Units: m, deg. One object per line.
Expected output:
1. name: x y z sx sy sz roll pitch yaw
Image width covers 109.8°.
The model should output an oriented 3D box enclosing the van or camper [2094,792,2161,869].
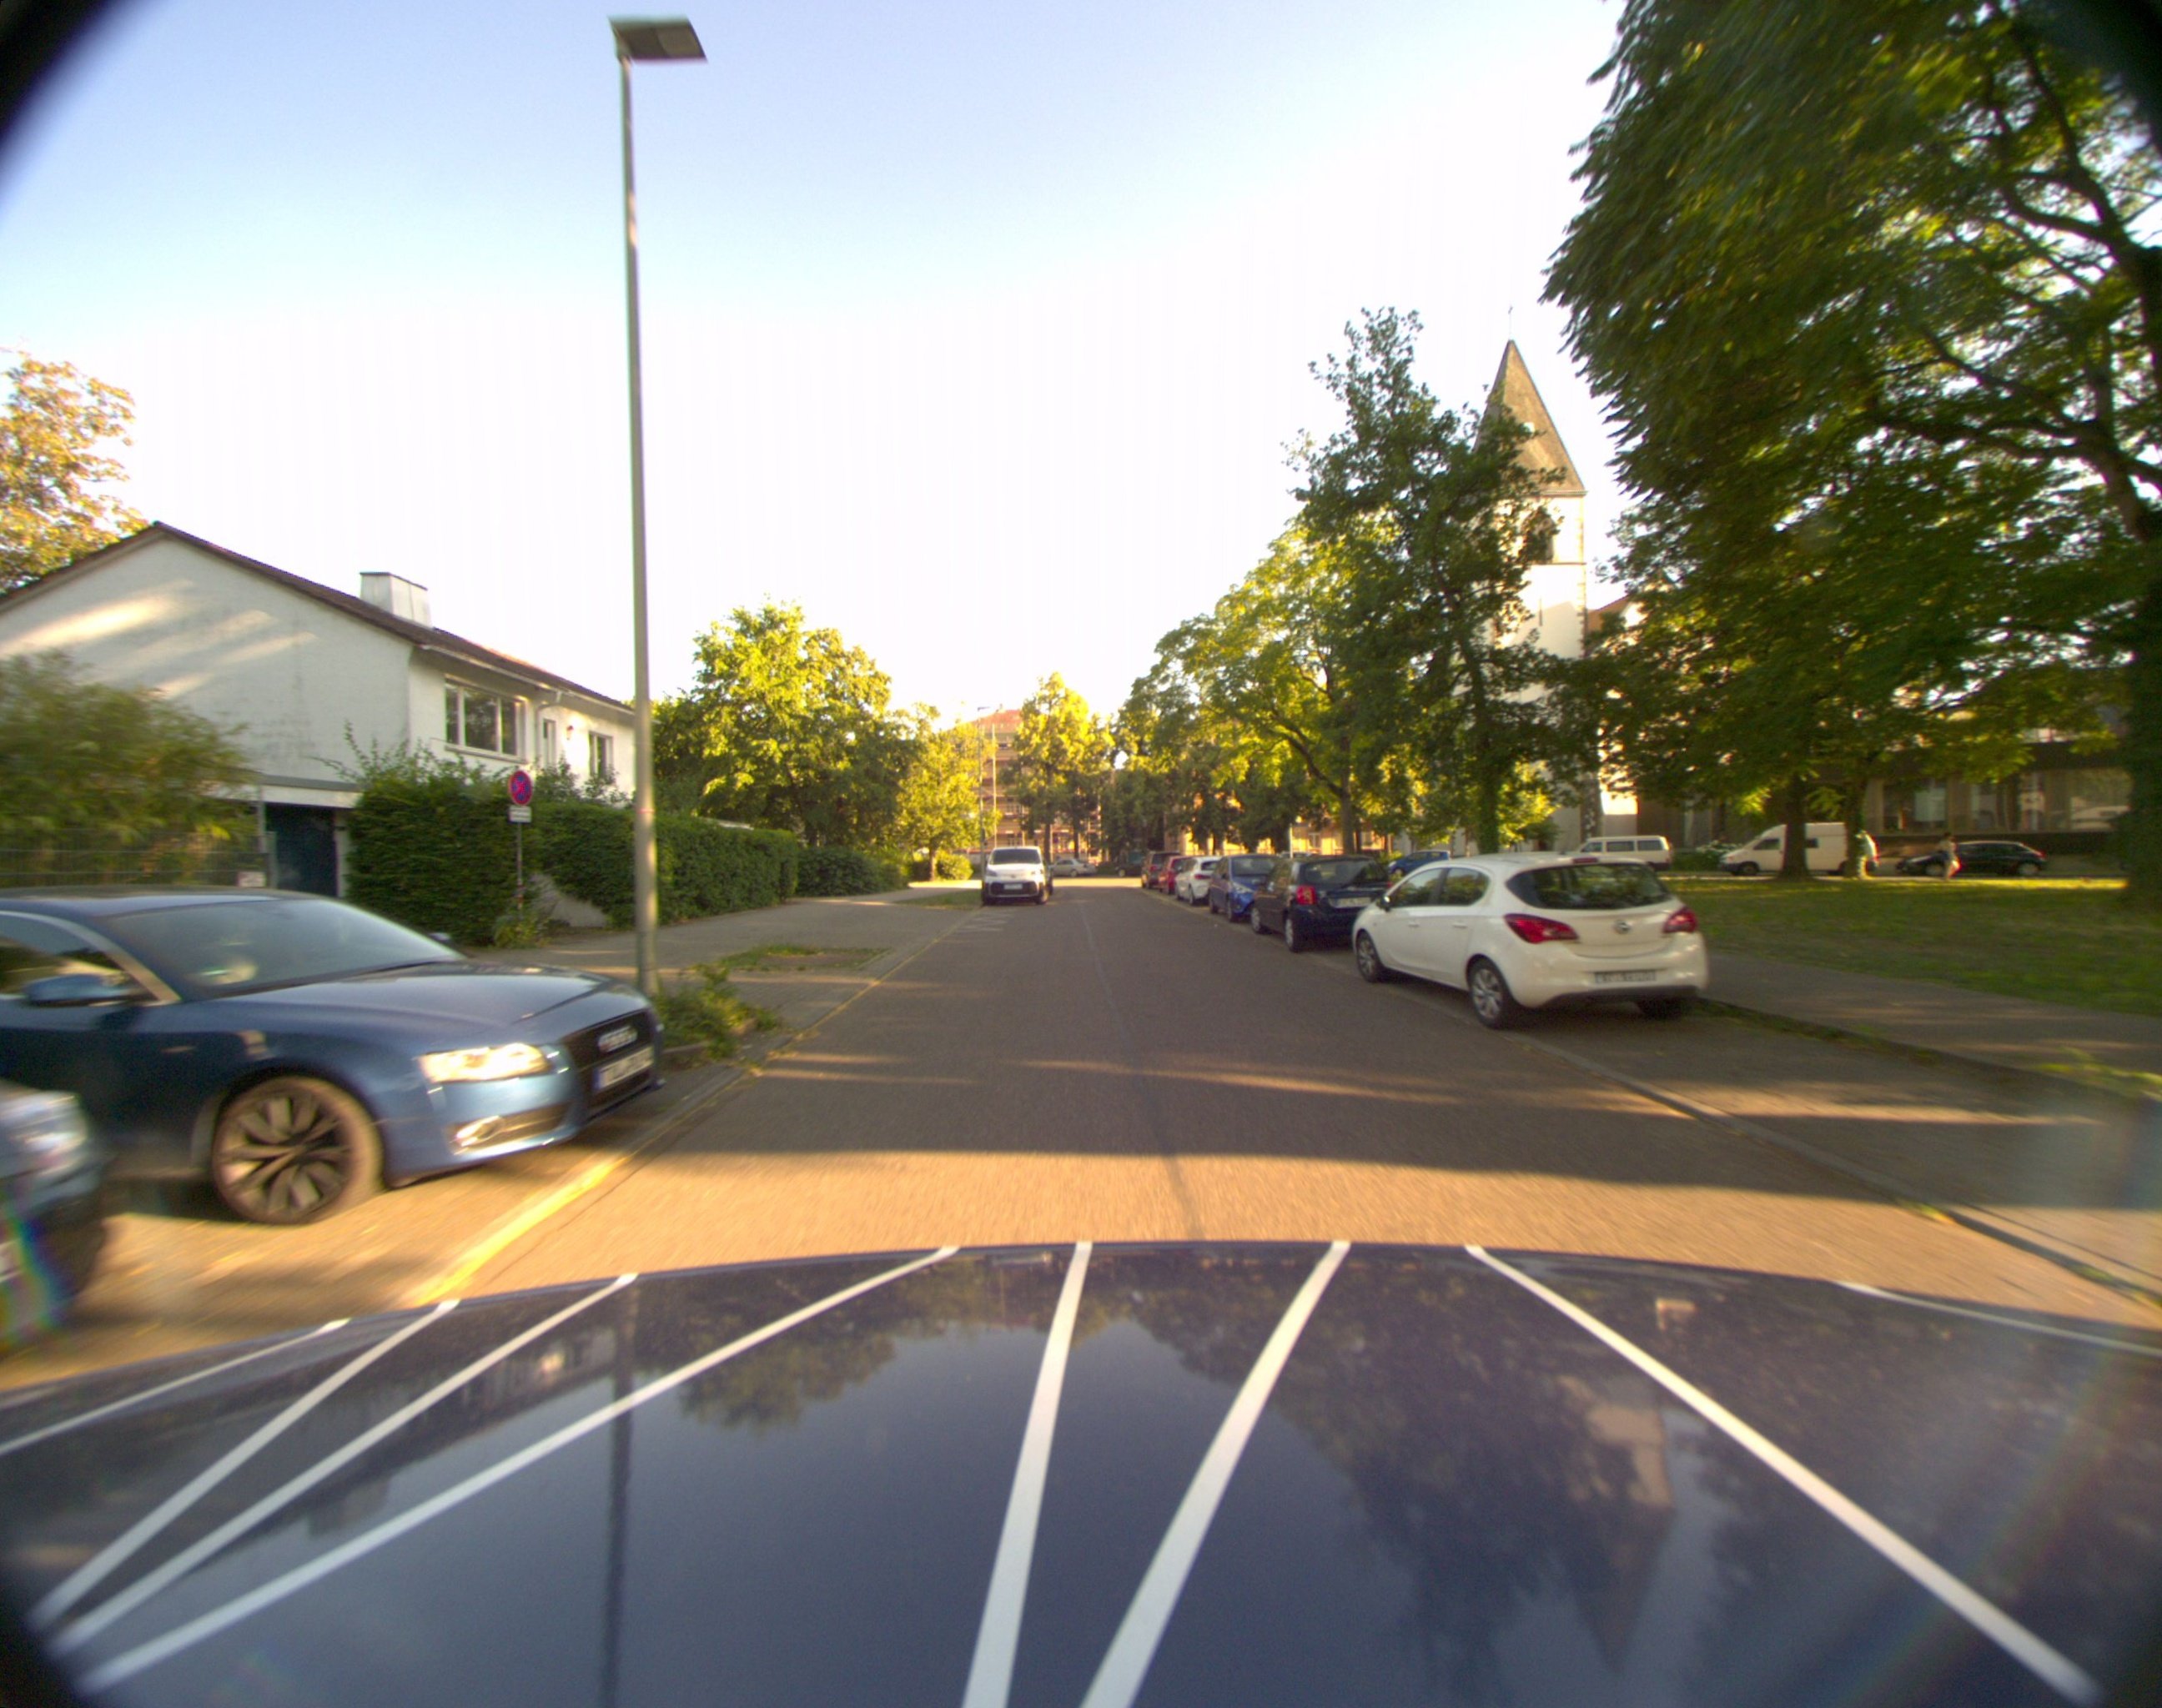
1. van or camper: 42.947 -0.947 28.058 6.314 2.891 2.101 -1 1 31

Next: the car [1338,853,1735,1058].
1. car: 4.131 0.768 7.714 1.596 1.517 3.864 -1 0 -2

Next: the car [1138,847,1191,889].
1. car: 3.695 0.576 34.400 1.806 1.666 4.320 -3 0 0

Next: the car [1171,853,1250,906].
1. car: 3.901 0.707 23.472 1.694 1.398 3.974 -3 0 0

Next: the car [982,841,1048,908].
1. car: -2.131 0.611 25.759 1.958 2.002 5.151 -1 0 -3

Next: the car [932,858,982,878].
1. car: -9.795 1.079 59.929 1.774 1.459 4.852 -2 0 -38

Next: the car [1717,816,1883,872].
1. car: 32.411 -0.420 34.479 5.172 2.342 1.860 -1 1 28

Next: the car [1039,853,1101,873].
1. car: -0.869 0.727 56.782 4.485 1.407 1.789 -1 -2 38

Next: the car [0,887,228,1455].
1. car: -4.758 0.914 1.590 3.692 1.515 1.791 -1 0 -5

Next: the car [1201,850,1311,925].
1. car: 3.994 0.700 17.899 1.642 1.487 3.705 -3 0 0

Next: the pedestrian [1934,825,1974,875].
1. pedestrian: 27.833 -0.125 24.242 0.765 1.565 0.777 -1 0 44

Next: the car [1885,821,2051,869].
1. car: 36.976 -0.351 31.844 4.133 1.875 1.860 -1 1 28

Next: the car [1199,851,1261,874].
1. car: 9.724 0.574 49.617 3.596 1.431 1.621 -1 -1 35

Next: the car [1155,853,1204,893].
1. car: 3.790 0.701 29.706 1.391 1.415 3.426 -3 0 0

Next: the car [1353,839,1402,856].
1. car: 29.750 -0.623 76.308 4.218 1.646 1.891 -1 0 -2

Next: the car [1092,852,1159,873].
1. car: 3.168 0.642 54.110 4.482 1.407 1.835 -1 -2 35

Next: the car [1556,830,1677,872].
1. car: 26.649 -0.134 37.988 4.827 1.935 1.861 -1 1 34

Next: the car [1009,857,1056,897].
1. car: -1.988 0.881 31.638 1.770 1.459 4.864 -1 0 -3

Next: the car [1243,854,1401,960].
1. car: 3.911 0.773 12.976 1.555 1.486 3.943 -1 0 2

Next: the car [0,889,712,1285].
1. car: -4.711 0.981 3.981 4.600 1.407 1.922 1 2 0

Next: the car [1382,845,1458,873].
1. car: 19.175 0.290 43.071 3.686 1.492 1.624 -1 0 34

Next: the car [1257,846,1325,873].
1. car: 12.987 0.359 47.071 3.686 1.570 1.713 -1 1 34
